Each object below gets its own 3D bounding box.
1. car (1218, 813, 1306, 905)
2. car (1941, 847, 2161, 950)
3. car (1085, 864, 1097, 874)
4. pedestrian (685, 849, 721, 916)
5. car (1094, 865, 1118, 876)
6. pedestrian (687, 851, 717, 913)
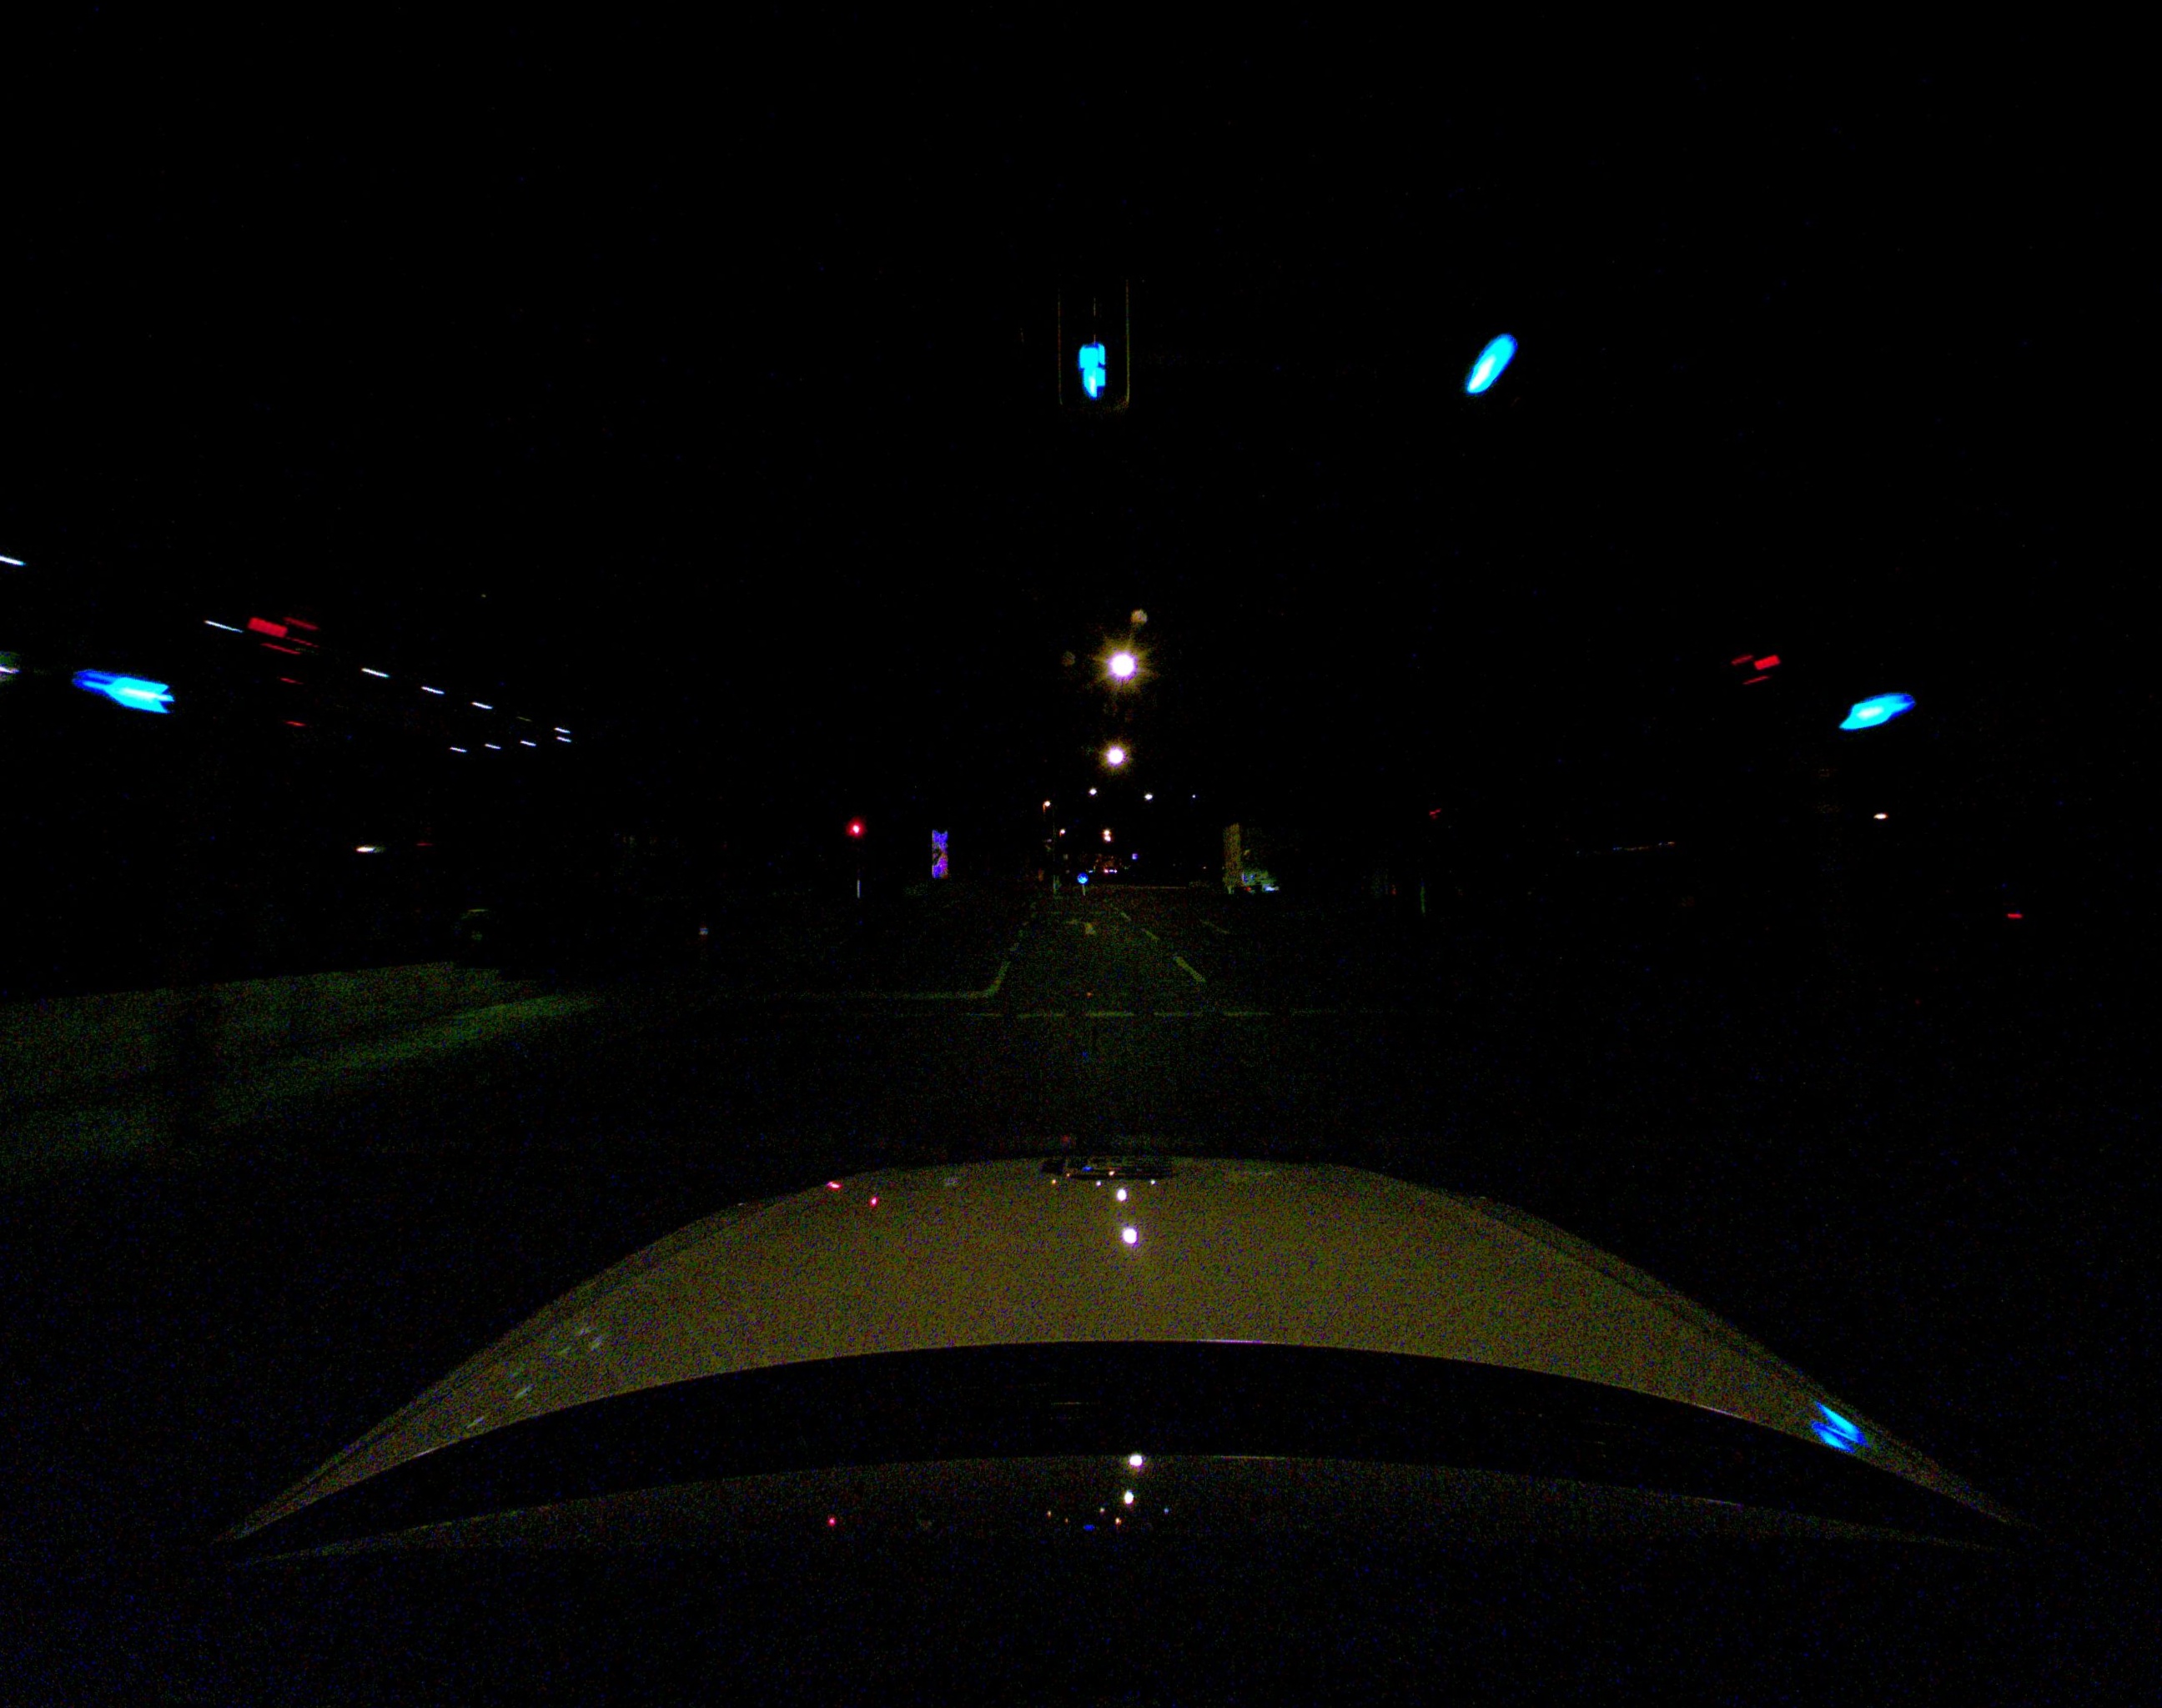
[{"bbox_3d":[6.789,0.213,31.309,2.287,3.093,5.845,-2,-1,3],"label":"car"},{"bbox_3d":[17.419,0.700,13.331,4.342,1.560,1.807,-2,-4,9],"label":"car"},{"bbox_3d":[1.628,2.416,131.569,1.901,1.558,3.906,0,-1,2],"label":"car"},{"bbox_3d":[-10.286,0.769,22.197,0.568,1.778,0.737,1,-1,2],"label":"pedestrian"},{"bbox_3d":[3.405,2.194,109.987,1.783,1.486,3.969,0,-1,-23],"label":"car"},{"bbox_3d":[-10.703,0.775,22.995,0.568,1.731,0.544,0,-1,2],"label":"pedestrian"}]
